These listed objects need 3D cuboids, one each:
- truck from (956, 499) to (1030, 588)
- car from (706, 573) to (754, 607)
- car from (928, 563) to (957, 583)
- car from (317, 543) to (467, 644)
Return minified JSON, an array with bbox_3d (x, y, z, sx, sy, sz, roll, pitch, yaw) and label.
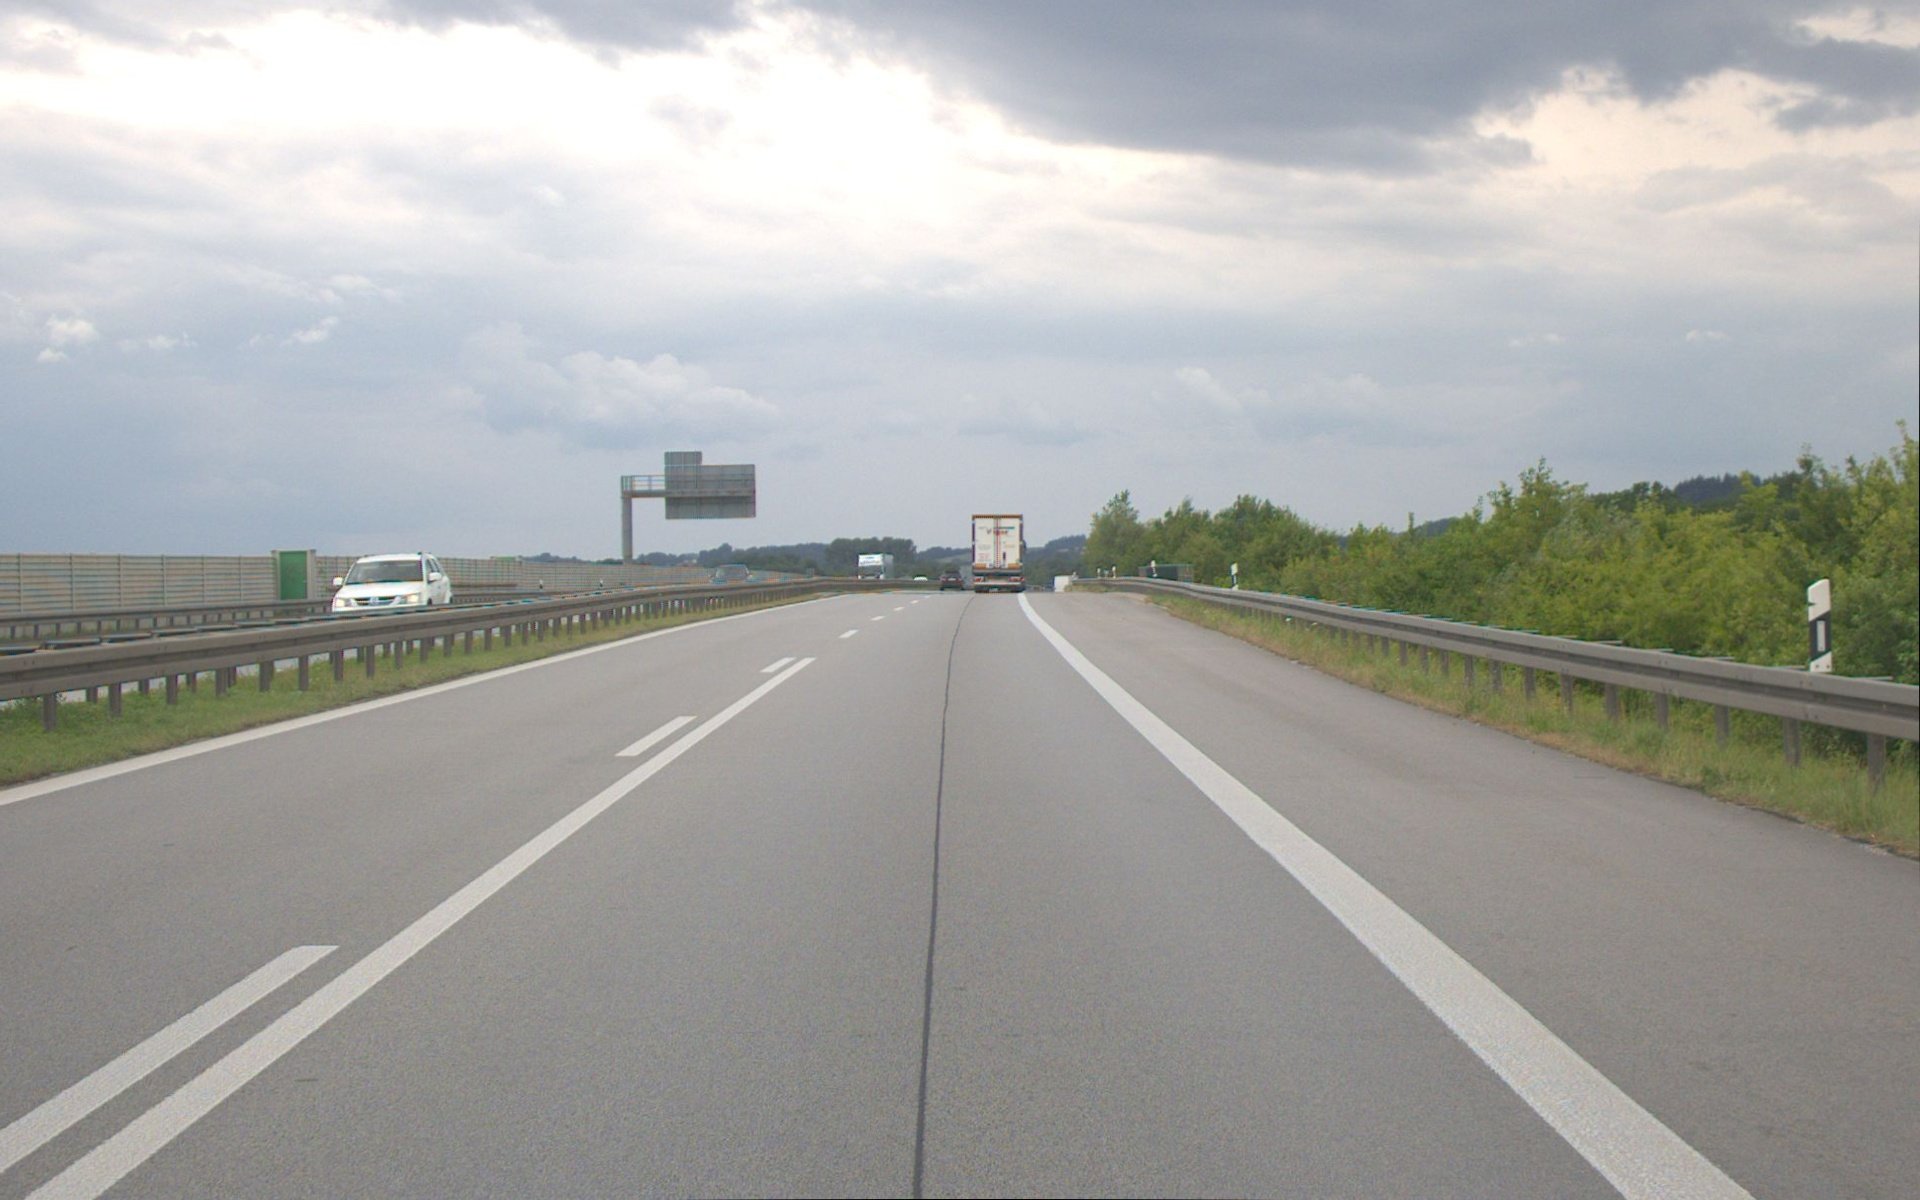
[{"bbox_3d":[1.855,-2.914,184.794,3.672,4.397,16.339,-1,0,1],"label":"truck"},{"bbox_3d":[-10.384,-0.476,155.321,1.787,1.446,5.173,0,1,0],"label":"car"},{"bbox_3d":[-1.302,-1.975,249.037,1.993,1.415,4.000,0,1,-1],"label":"car"},{"bbox_3d":[-11.144,-0.165,67.808,2.070,1.740,4.961,-3,2,0],"label":"car"}]
